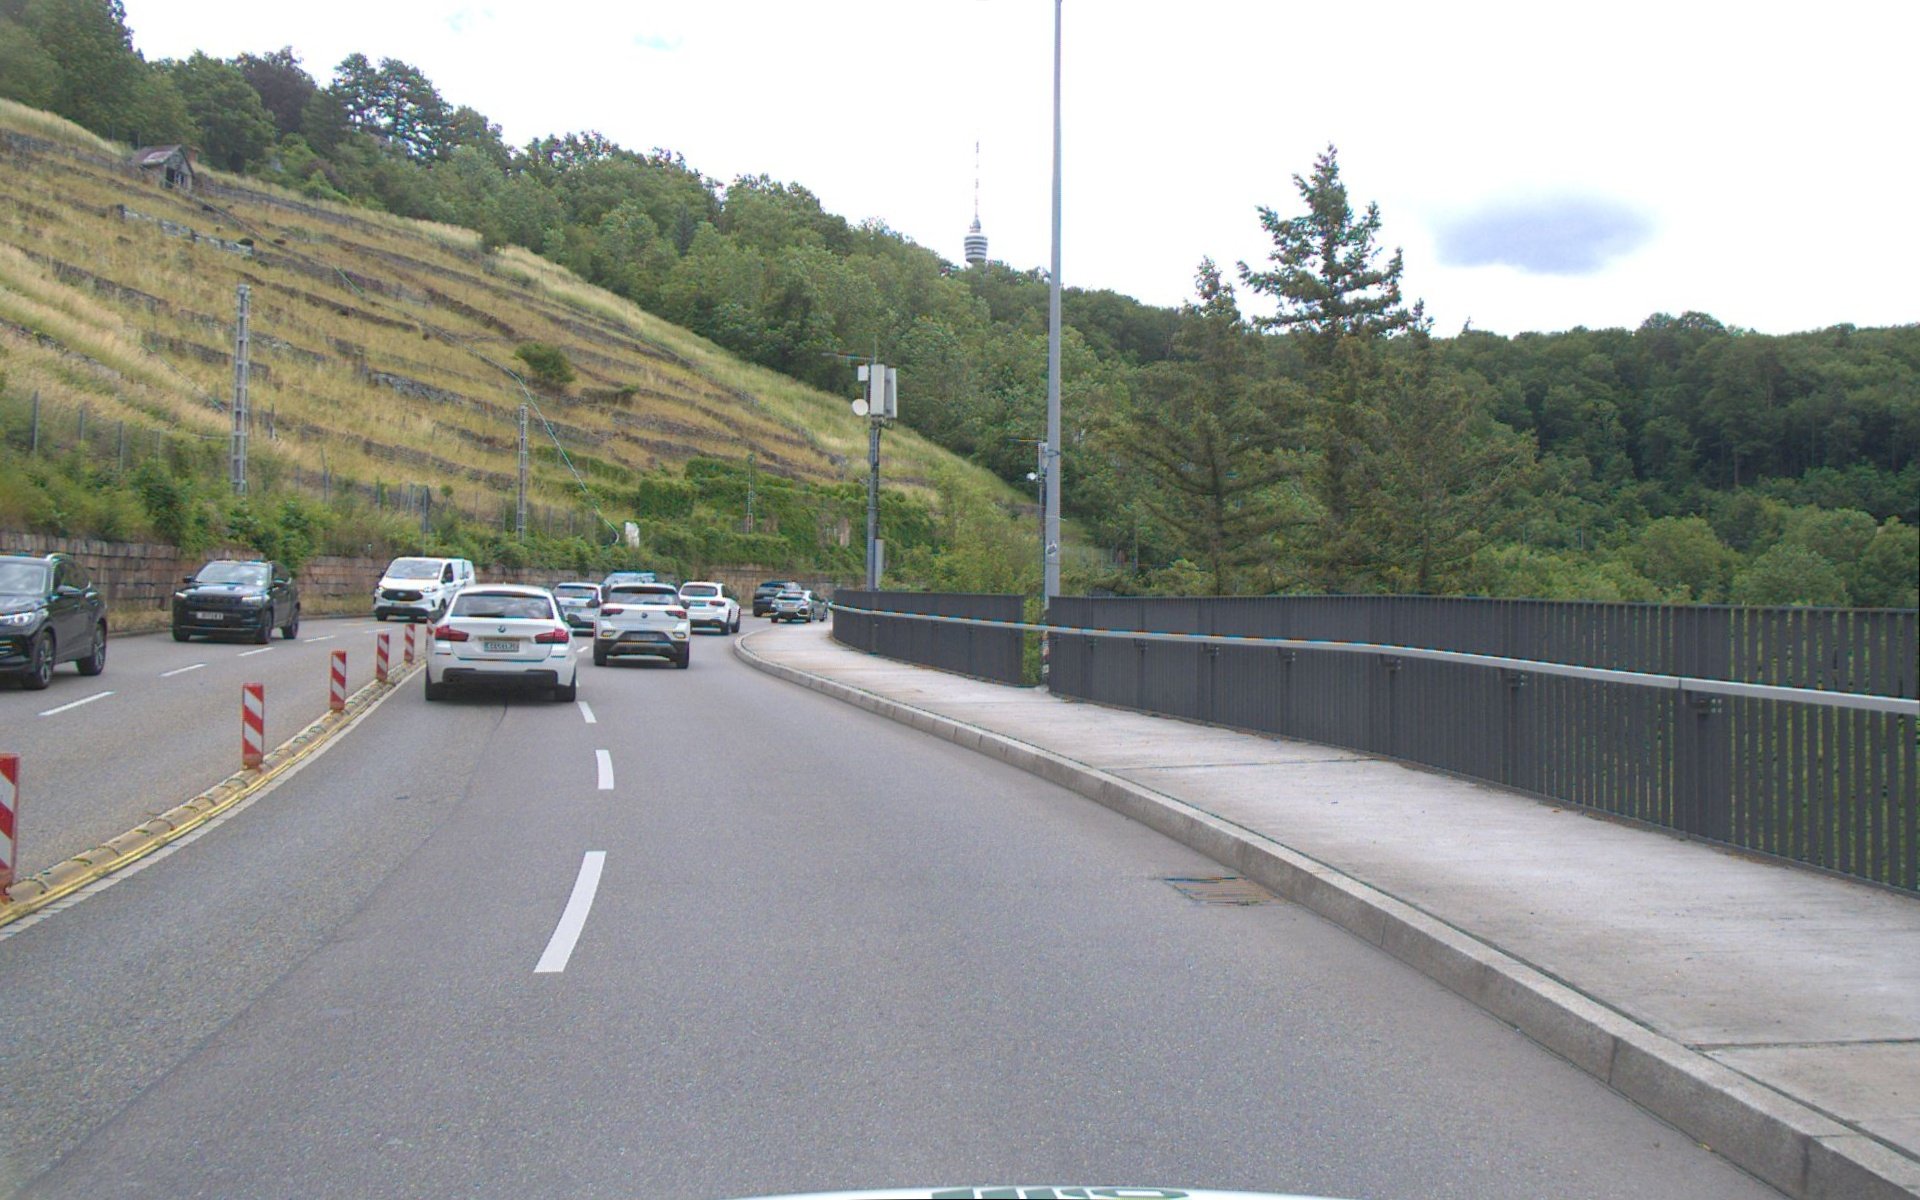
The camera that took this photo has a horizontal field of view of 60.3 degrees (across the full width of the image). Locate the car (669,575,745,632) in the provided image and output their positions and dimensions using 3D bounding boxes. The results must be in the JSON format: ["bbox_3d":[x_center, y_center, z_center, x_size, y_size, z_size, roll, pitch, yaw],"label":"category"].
[{"bbox_3d":[-8.158,0.109,53.659,1.953,1.748,4.112,1,0,-2],"label":"car"}]

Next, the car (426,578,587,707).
[{"bbox_3d":[-6.048,0.511,22.120,1.798,1.485,4.467,3,-1,-15],"label":"car"}]

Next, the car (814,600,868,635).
[{"bbox_3d":[-6.766,1.032,94.440,1.830,1.793,4.001,-1,-3,16],"label":"car"}]

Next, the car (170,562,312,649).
[{"bbox_3d":[-14.907,0.101,34.526,1.832,1.652,4.335,2,0,-12],"label":"car"}]

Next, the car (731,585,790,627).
[{"bbox_3d":[-9.515,0.300,79.216,1.830,1.793,4.002,0,-3,8],"label":"car"}]

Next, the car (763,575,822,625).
[{"bbox_3d":[-7.218,0.021,71.430,1.952,2.049,4.001,-1,-1,2],"label":"car"}]

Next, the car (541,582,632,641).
[{"bbox_3d":[-10.667,0.322,47.555,1.955,1.529,4.661,-2,0,-6],"label":"car"}]

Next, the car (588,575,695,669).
[{"bbox_3d":[-6.211,0.402,31.943,1.797,1.634,3.986,2,-1,-14],"label":"car"}]

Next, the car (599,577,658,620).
[{"bbox_3d":[-15.142,-0.063,75.778,1.814,1.813,4.732,3,0,-2],"label":"car"}]

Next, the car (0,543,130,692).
[{"bbox_3d":[-12.398,0.181,21.570,1.811,1.756,4.447,1,0,-13],"label":"car"}]

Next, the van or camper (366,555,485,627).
[{"bbox_3d":[-16.586,-0.292,51.639,2.104,2.051,4.962,3,1,-1],"label":"van or camper"}]
